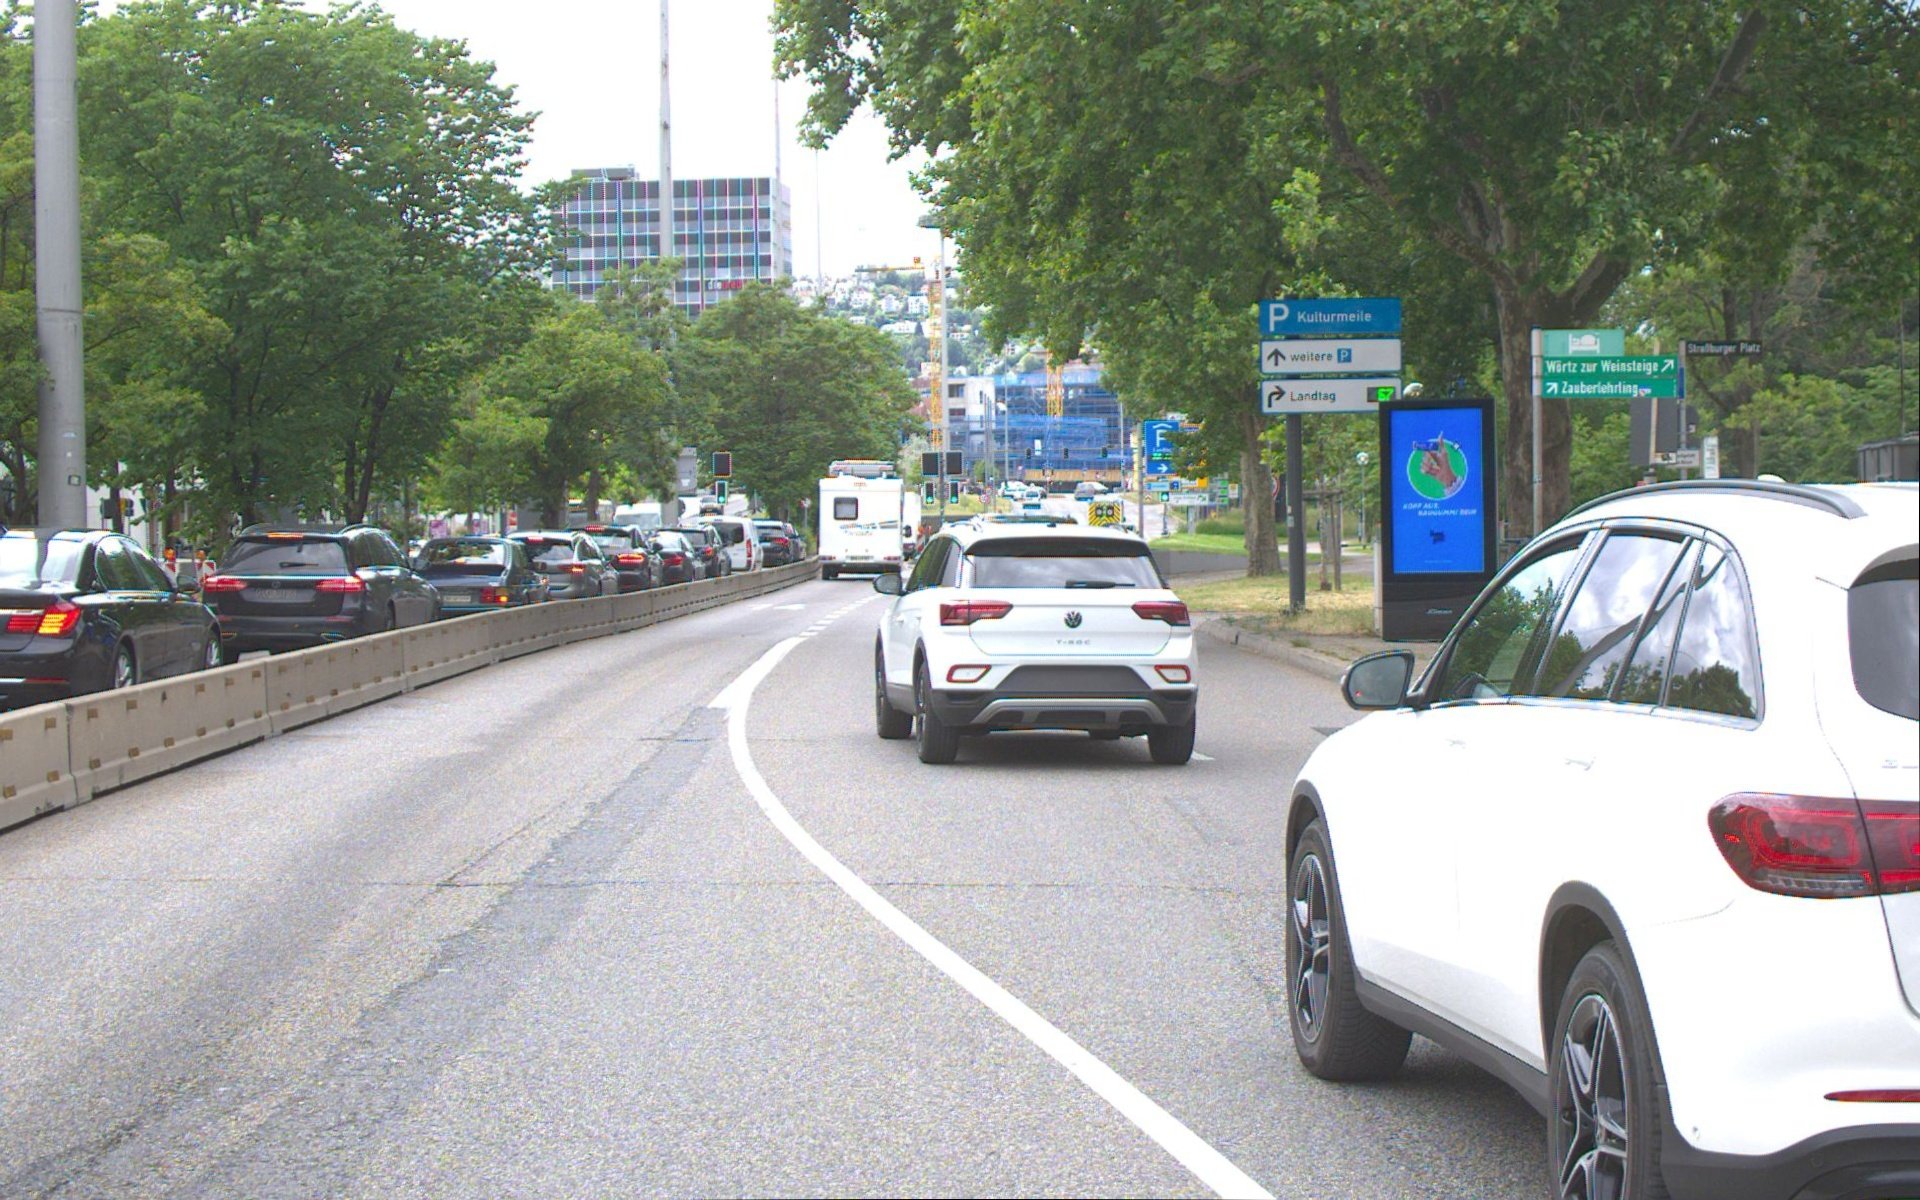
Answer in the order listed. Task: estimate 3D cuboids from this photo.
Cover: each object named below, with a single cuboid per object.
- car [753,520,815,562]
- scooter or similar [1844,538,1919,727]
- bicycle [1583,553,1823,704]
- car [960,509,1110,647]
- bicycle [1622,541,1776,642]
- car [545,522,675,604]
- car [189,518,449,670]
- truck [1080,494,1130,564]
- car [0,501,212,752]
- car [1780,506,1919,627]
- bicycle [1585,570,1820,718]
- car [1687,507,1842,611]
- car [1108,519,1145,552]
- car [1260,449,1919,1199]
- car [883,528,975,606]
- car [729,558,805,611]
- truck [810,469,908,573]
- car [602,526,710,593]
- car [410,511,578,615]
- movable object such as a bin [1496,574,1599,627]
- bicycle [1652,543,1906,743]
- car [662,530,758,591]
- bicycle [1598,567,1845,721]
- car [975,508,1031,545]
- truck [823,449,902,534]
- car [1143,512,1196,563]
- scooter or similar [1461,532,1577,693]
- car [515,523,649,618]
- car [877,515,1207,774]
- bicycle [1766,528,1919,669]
[{"bbox_3d":[-5.531,-1.858,108.328,1.659,1.315,3.547,0,1,2],"label":"car"},{"bbox_3d":[6.494,0.211,23.771,0.562,1.274,1.148,1,1,6],"label":"scooter or similar"},{"bbox_3d":[5.582,0.204,25.828,1.729,1.087,0.380,1,1,13],"label":"bicycle"},{"bbox_3d":[0.897,-0.285,42.814,1.659,1.633,3.548,0,1,-2],"label":"car"},{"bbox_3d":[9.042,-0.107,42.111,1.785,1.216,0.492,0,1,4],"label":"bicycle"},{"bbox_3d":[-6.307,-0.702,62.299,1.776,1.415,4.000,0,1,2],"label":"car"},{"bbox_3d":[-6.703,-0.101,36.441,1.816,1.494,4.769,0,1,0],"label":"car"},{"bbox_3d":[8.754,-4.300,208.408,2.877,4.089,6.638,1,1,2],"label":"truck"},{"bbox_3d":[-6.706,0.130,24.761,1.923,1.630,4.937,0,1,-5],"label":"car"},{"bbox_3d":[12.925,-0.452,45.295,3.836,1.563,1.679,0,1,1],"label":"car"},{"bbox_3d":[5.705,0.328,26.417,1.729,1.087,0.425,1,1,13],"label":"bicycle"},{"bbox_3d":[13.445,-0.712,57.649,1.760,1.546,4.027,0,3,2],"label":"car"},{"bbox_3d":[8.604,-3.350,177.966,1.758,1.663,4.168,0,1,1],"label":"car"},{"bbox_3d":[1.982,0.531,7.926,1.787,1.619,4.438,0,1,-5],"label":"car"},{"bbox_3d":[-0.561,-0.617,64.592,1.659,1.408,3.547,0,1,0],"label":"car"},{"bbox_3d":[-5.023,-0.422,89.721,1.659,1.315,3.547,0,1,2],"label":"car"},{"bbox_3d":[-2.880,-2.285,99.783,2.621,2.851,7.079,1,1,0],"label":"truck"},{"bbox_3d":[-6.187,-0.837,70.336,1.659,1.315,3.547,0,1,4],"label":"car"},{"bbox_3d":[-6.441,-0.542,47.933,1.678,1.362,4.543,0,1,0],"label":"car"},{"bbox_3d":[7.664,0.012,44.894,1.299,0.650,0.728,2,0,9],"label":"movable object such as a bin"},{"bbox_3d":[5.350,0.264,22.447,1.544,1.252,0.542,1,1,19],"label":"bicycle"},{"bbox_3d":[-5.587,-0.893,77.080,1.659,1.315,3.547,0,1,4],"label":"car"},{"bbox_3d":[5.616,0.316,25.430,1.729,1.087,0.574,1,1,9],"label":"bicycle"},{"bbox_3d":[1.579,-2.658,125.165,1.947,1.315,4.016,0,1,2],"label":"car"},{"bbox_3d":[-3.578,-3.990,127.551,2.692,2.981,5.638,2,1,0],"label":"truck"},{"bbox_3d":[8.405,-2.503,138.214,1.993,2.007,4.000,0,1,2],"label":"car"},{"bbox_3d":[4.741,0.091,29.224,0.725,1.327,1.414,1,1,0],"label":"scooter or similar"},{"bbox_3d":[-5.960,-0.472,54.502,1.661,1.431,3.960,0,1,0],"label":"car"},{"bbox_3d":[0.468,0.250,23.205,1.795,1.603,3.755,0,1,-5],"label":"car"},{"bbox_3d":[6.234,-0.015,22.667,1.730,0.914,0.613,0,1,19],"label":"bicycle"}]
